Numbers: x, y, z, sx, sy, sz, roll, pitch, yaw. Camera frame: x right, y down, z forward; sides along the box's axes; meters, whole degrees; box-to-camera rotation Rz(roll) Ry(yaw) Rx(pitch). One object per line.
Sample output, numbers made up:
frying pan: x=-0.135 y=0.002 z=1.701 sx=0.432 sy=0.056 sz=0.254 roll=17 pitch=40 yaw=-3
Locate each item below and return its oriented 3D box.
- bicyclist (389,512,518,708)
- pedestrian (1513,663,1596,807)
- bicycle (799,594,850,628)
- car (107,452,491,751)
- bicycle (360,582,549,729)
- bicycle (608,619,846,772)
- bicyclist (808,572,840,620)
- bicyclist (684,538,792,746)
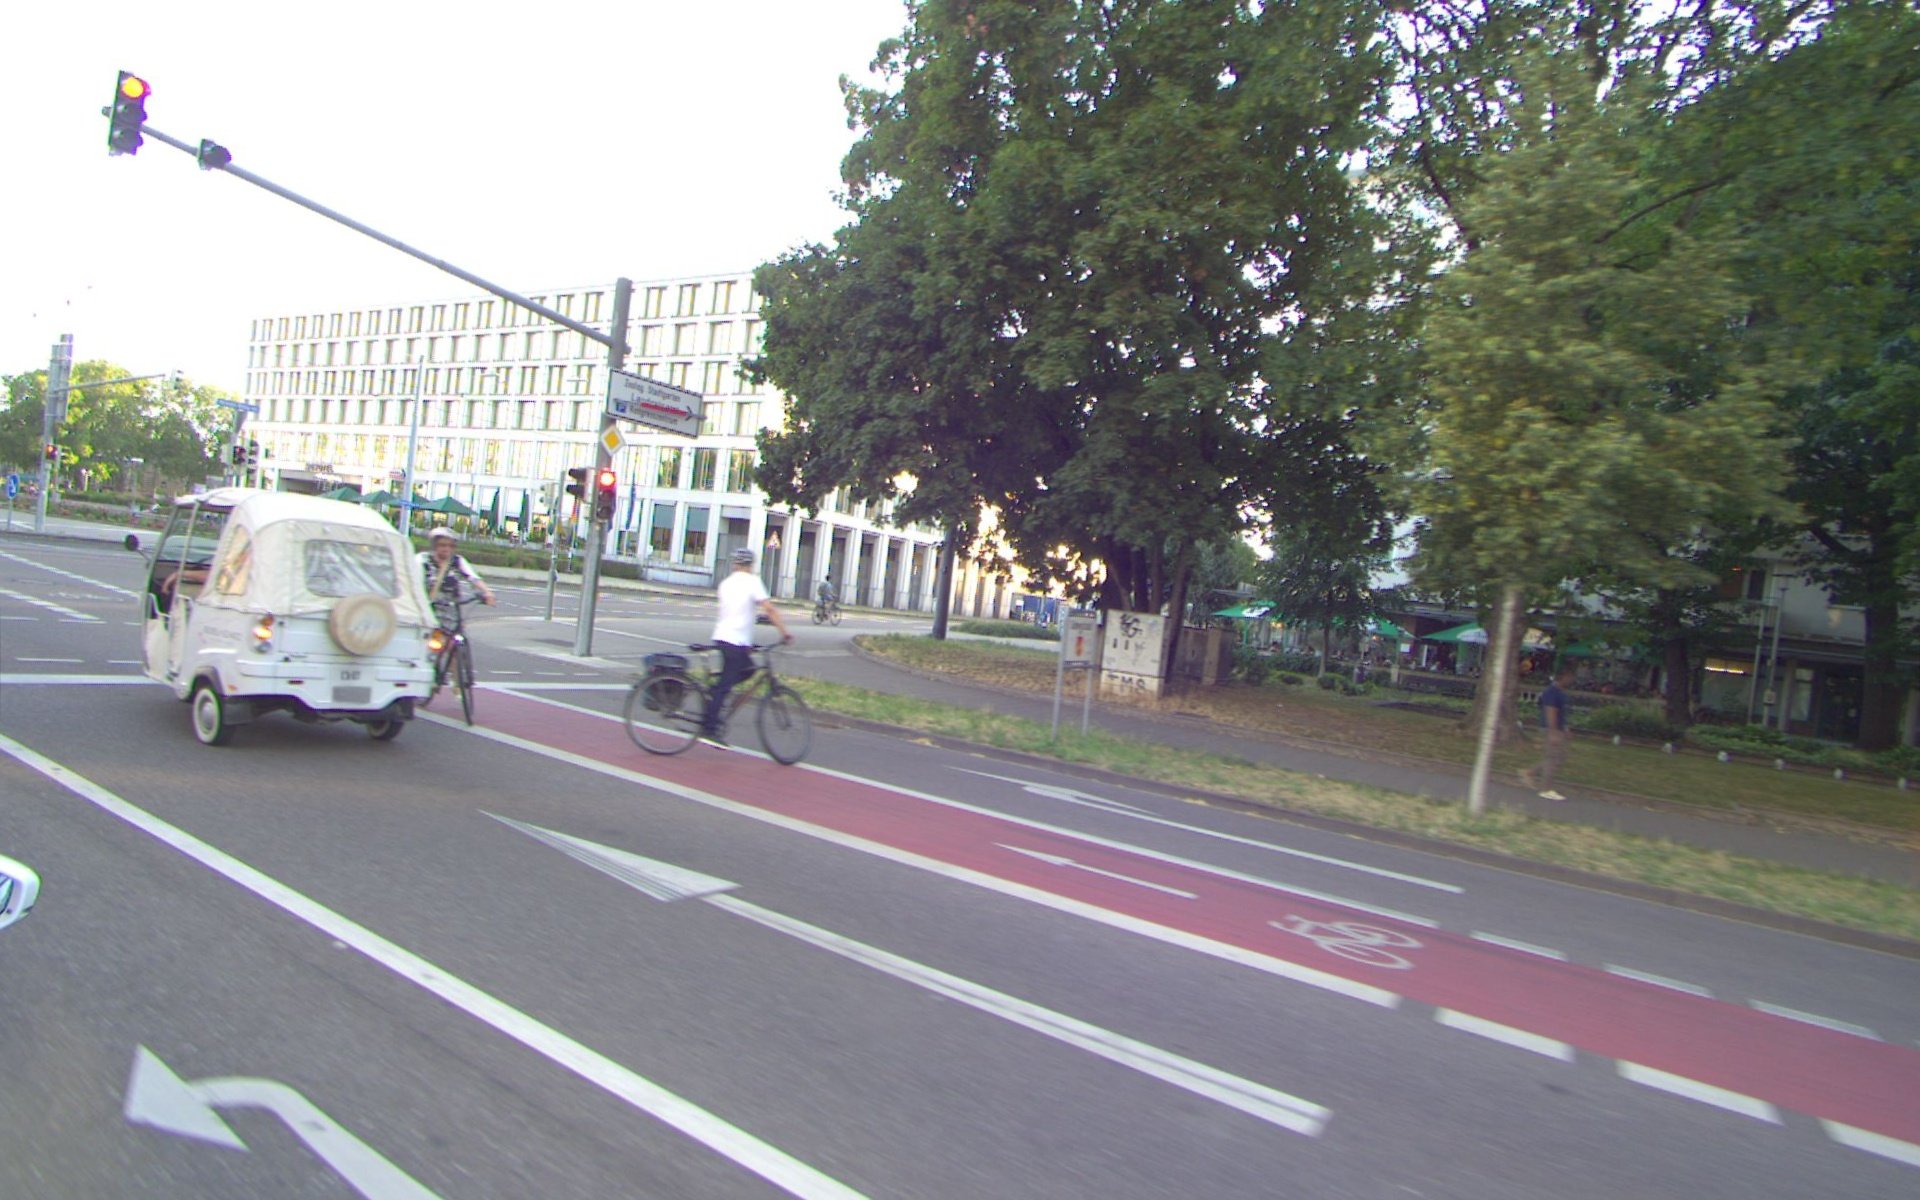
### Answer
bicyclist: x=-4.709 y=0.094 z=9.356 sx=0.738 sy=1.714 sz=0.712 roll=7 pitch=1 yaw=40
pedestrian: x=7.726 y=1.725 z=13.093 sx=0.736 sy=1.714 sz=0.695 roll=7 pitch=1 yaw=31
bicycle: x=-5.080 y=0.423 z=37.811 sx=0.719 sy=1.082 sz=1.898 roll=7 pitch=-1 yaw=35
car: x=-5.042 y=-0.033 z=7.633 sx=2.523 sy=1.803 sz=1.460 roll=8 pitch=1 yaw=35
bicycle: x=-4.728 y=0.487 z=9.344 sx=1.992 sy=1.082 sz=0.728 roll=7 pitch=-1 yaw=39
bicycle: x=-2.056 y=0.840 z=9.017 sx=1.872 sy=1.081 sz=0.729 roll=8 pitch=-1 yaw=-12
bicyclist: x=-5.088 y=-0.149 z=37.700 sx=0.704 sy=1.714 sz=0.746 roll=7 pitch=1 yaw=35
bicyclist: x=-1.982 y=0.362 z=9.016 sx=0.736 sy=1.714 sz=0.763 roll=6 pitch=1 yaw=-12
